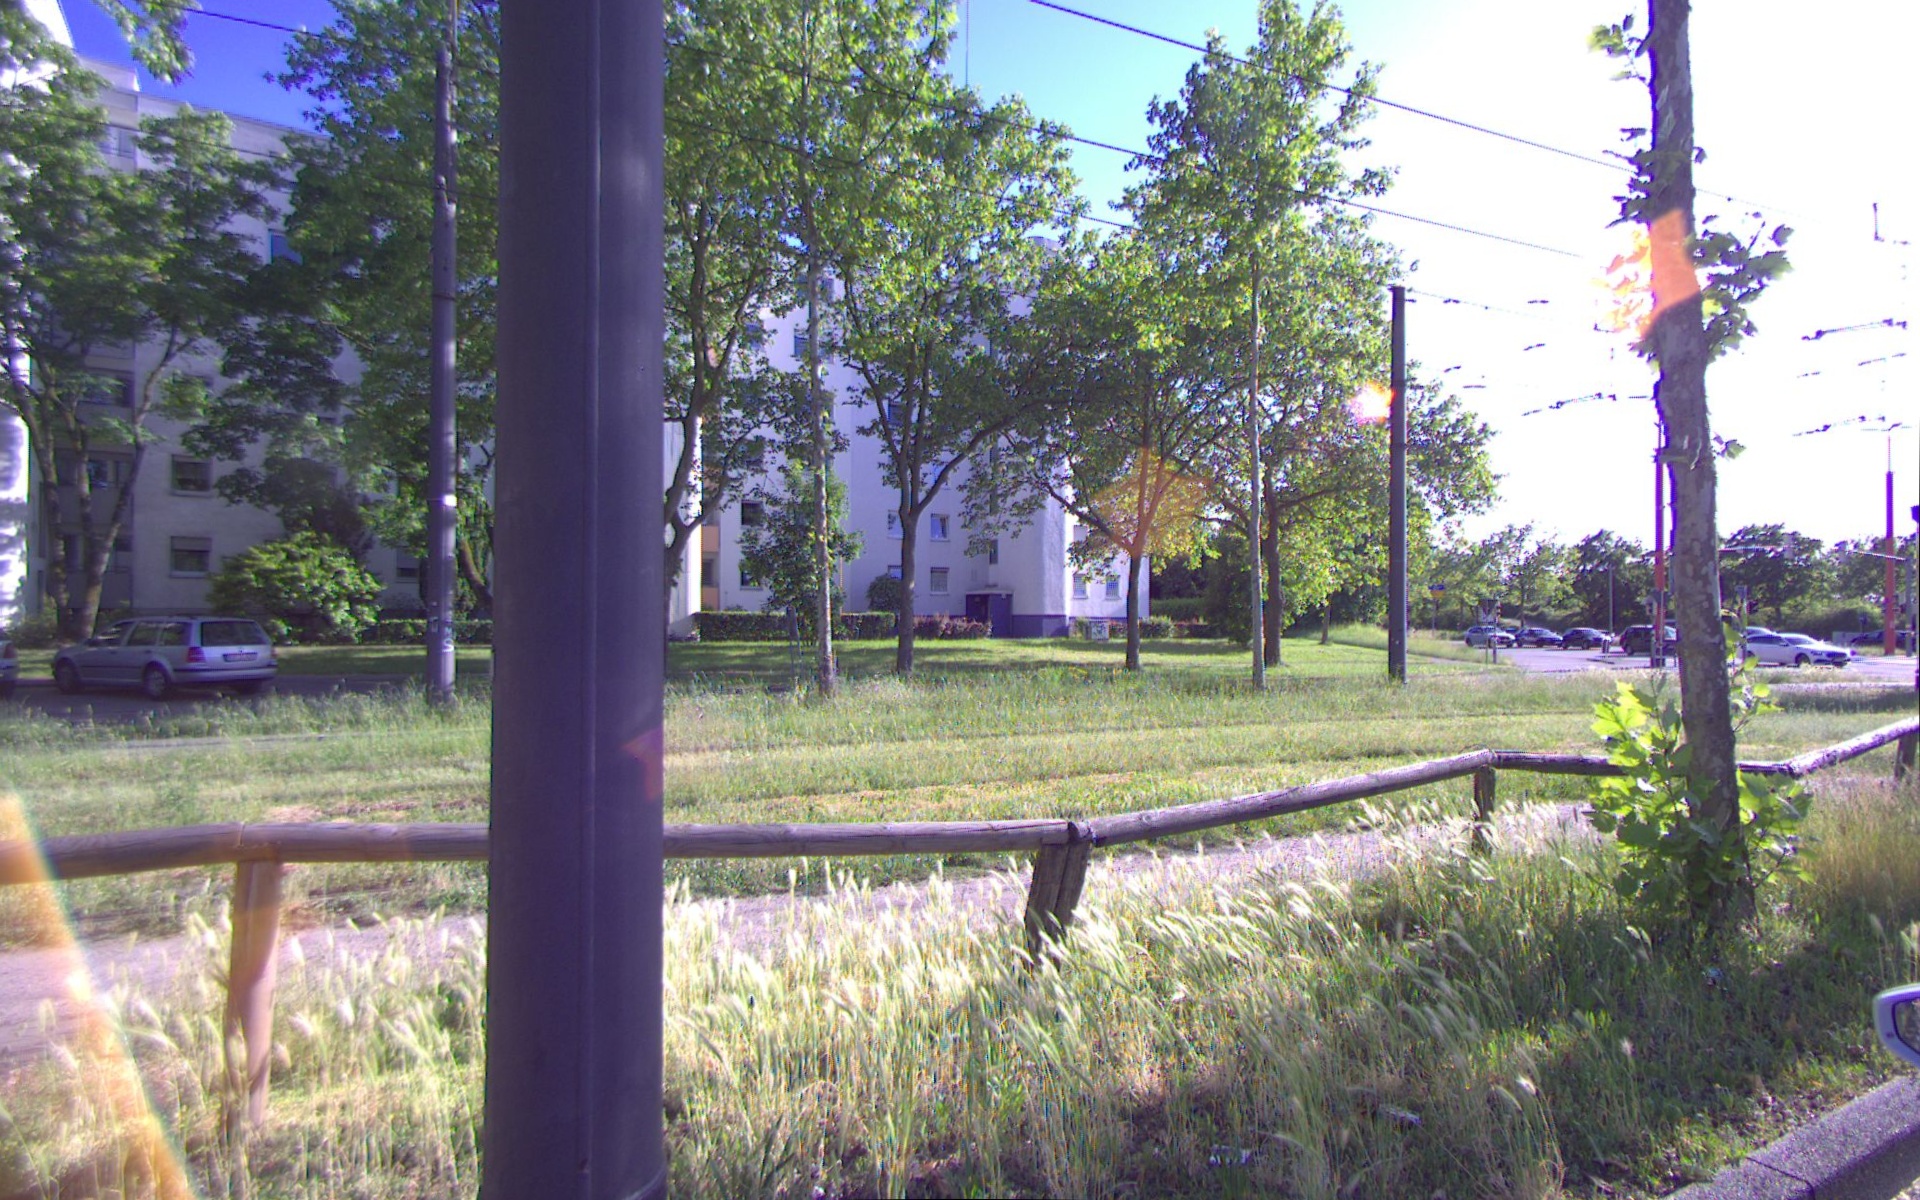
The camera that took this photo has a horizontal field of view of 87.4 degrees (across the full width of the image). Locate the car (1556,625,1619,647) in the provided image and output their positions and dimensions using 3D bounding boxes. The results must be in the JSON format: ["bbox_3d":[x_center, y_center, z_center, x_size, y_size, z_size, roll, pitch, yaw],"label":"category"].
[{"bbox_3d":[45.004,2.567,72.149,1.877,1.483,4.055,1,-1,-3],"label":"car"}]

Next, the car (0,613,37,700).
[{"bbox_3d":[-17.916,0.927,17.144,3.609,1.452,1.703,0,-1,20],"label":"car"}]

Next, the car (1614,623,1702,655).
[{"bbox_3d":[42.282,2.328,60.994,1.877,1.860,4.795,1,-1,-2],"label":"car"}]

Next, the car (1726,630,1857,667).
[{"bbox_3d":[38.853,2.229,47.108,1.961,1.596,4.929,1,-1,-2],"label":"car"}]

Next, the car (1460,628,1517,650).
[{"bbox_3d":[42.057,3.085,80.083,1.877,1.619,4.795,1,-1,-2],"label":"car"}]

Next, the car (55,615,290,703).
[{"bbox_3d":[-14.472,1.026,18.488,3.609,1.452,1.732,0,-1,20],"label":"car"}]

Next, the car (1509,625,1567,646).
[{"bbox_3d":[44.828,2.744,77.958,1.877,1.483,4.239,1,-1,-3],"label":"car"}]

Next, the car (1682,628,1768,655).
[{"bbox_3d":[45.661,2.466,60.049,1.877,1.483,4.222,1,-1,-2],"label":"car"}]
